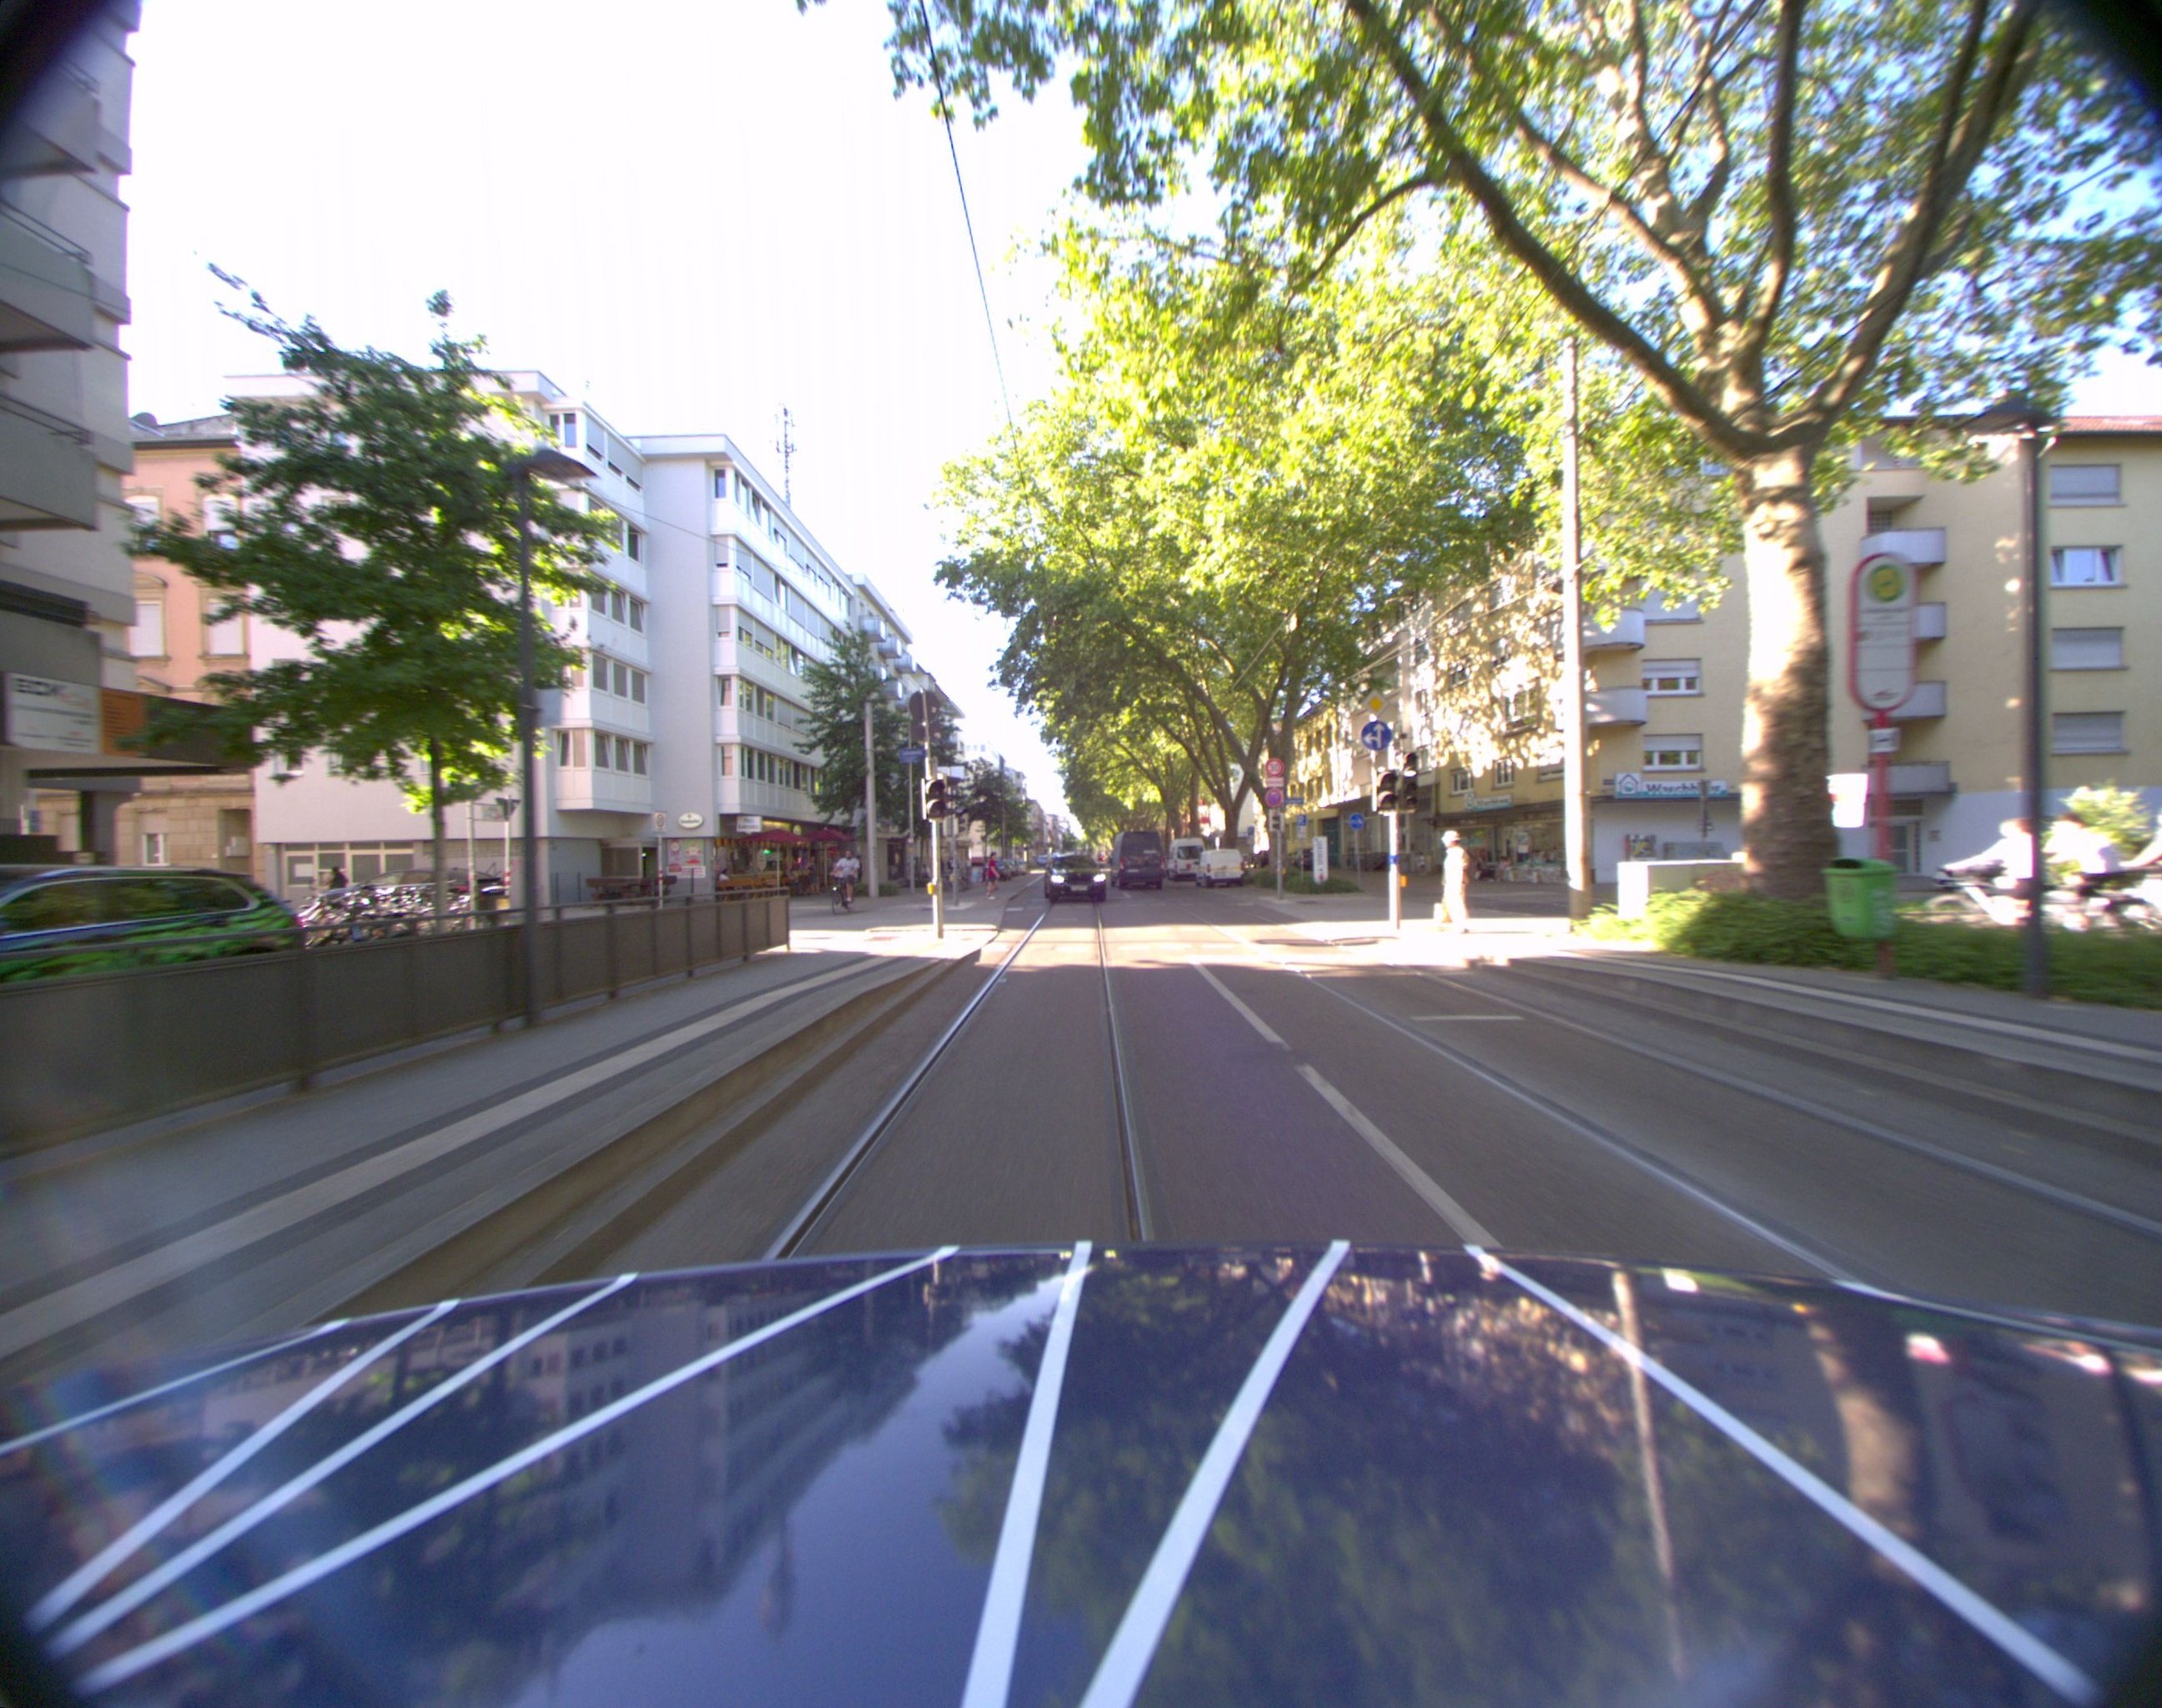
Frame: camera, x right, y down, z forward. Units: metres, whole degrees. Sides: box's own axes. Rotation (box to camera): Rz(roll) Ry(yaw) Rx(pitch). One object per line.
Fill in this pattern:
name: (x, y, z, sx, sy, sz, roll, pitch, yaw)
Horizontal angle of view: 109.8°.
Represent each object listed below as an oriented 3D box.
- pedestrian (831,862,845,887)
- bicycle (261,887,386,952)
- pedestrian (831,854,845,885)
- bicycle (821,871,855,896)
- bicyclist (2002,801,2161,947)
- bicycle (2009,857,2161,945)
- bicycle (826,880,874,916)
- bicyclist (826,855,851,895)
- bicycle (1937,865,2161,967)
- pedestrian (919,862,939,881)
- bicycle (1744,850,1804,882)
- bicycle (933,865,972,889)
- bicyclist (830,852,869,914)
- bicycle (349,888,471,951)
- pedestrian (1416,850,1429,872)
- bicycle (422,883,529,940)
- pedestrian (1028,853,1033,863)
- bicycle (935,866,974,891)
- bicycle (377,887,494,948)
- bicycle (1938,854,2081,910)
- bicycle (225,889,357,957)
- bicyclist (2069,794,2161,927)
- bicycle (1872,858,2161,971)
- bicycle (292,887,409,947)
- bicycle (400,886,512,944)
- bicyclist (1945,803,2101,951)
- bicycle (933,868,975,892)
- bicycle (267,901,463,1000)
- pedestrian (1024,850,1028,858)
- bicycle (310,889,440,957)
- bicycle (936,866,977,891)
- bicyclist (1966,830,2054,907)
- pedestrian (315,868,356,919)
pedestrian: (-12.962, 1.087, 40.491, 0.510, 1.269, 0.625, -3, 1, -36)
bicycle: (-15.579, 1.332, 15.646, 1.919, 1.201, 0.511, -2, 1, -3)
pedestrian: (-12.921, 0.831, 40.414, 0.508, 1.619, 0.517, -3, 1, -37)
bicycle: (-10.611, 1.274, 33.243, 0.678, 0.957, 2.022, -2, 1, 3)
bicyclist: (12.765, 0.241, 9.705, 0.776, 1.740, 0.997, -2, 1, -1)
bicycle: (14.490, 0.625, 10.221, 0.784, 1.104, 2.595, -2, 1, -2)
bicycle: (-6.997, 1.313, 23.118, 0.790, 0.932, 1.939, -2, 1, 1)
bicyclist: (-10.636, 0.894, 33.333, 0.678, 1.707, 0.965, -2, 1, 3)
bicycle: (12.806, 0.732, 9.696, 0.784, 1.104, 2.595, -2, 1, -2)
pedestrian: (-9.000, 1.025, 44.917, 1.002, 1.021, 0.660, -3, 1, -21)
bicycle: (25.077, 0.432, 27.516, 1.637, 1.078, 0.543, -2, 0, 2)
bicycle: (-6.298, 1.126, 37.218, 1.820, 1.094, 0.525, -1, 1, 0)
bicyclist: (-7.013, 0.858, 23.086, 0.769, 1.821, 1.099, -2, 1, 1)
bicycle: (-13.501, 1.311, 15.309, 1.919, 1.200, 0.511, -1, 0, -3)
pedestrian: (17.991, 0.361, 39.980, 0.421, 1.099, 0.437, -2, 1, -9)
bicycle: (-13.479, 1.271, 16.937, 1.919, 1.200, 0.511, -1, 0, -3)
pedestrian: (-9.342, 0.753, 140.430, 0.697, 1.685, 0.678, -2, 1, 0)
bicycle: (-6.087, 1.176, 36.579, 1.821, 1.094, 0.481, -2, 1, -7)
bicycle: (-13.449, 1.309, 15.865, 1.919, 1.200, 0.511, -1, 0, -3)
bicycle: (19.393, 0.574, 15.895, 2.213, 1.064, 0.682, -2, 1, -1)
bicycle: (-15.551, 1.343, 14.983, 1.919, 1.201, 0.511, -2, 2, -3)
bicyclist: (14.473, 0.065, 10.324, 0.776, 1.740, 0.997, -2, 1, -2)
bicycle: (11.883, 0.670, 9.705, 0.784, 1.184, 2.595, -2, 1, -2)
bicycle: (-15.612, 1.337, 16.259, 1.919, 1.200, 0.511, -2, -1, -3)
bicycle: (-13.466, 1.302, 16.400, 1.919, 1.200, 0.511, -1, 0, -3)
bicyclist: (11.882, 0.274, 9.617, 0.784, 1.753, 0.951, -2, 1, -2)
bicycle: (-5.824, 1.196, 34.928, 1.820, 0.988, 0.481, -2, 1, -2)
bicycle: (-9.506, 1.274, 10.114, 2.130, 1.181, 0.681, -2, 1, 9)
pedestrian: (-10.484, -0.083, 145.632, 0.590, 1.493, 0.600, -2, 1, 0)
bicycle: (-13.683, 1.324, 14.757, 1.919, 1.201, 0.511, -2, 1, -3)
bicycle: (-5.879, 1.173, 35.945, 1.821, 1.094, 0.497, -2, 1, -7)
bicyclist: (19.404, 0.291, 15.881, 0.993, 1.539, 0.682, -2, 1, -1)
pedestrian: (-23.808, 1.250, 24.284, 0.552, 1.553, 0.645, -2, 2, 5)
